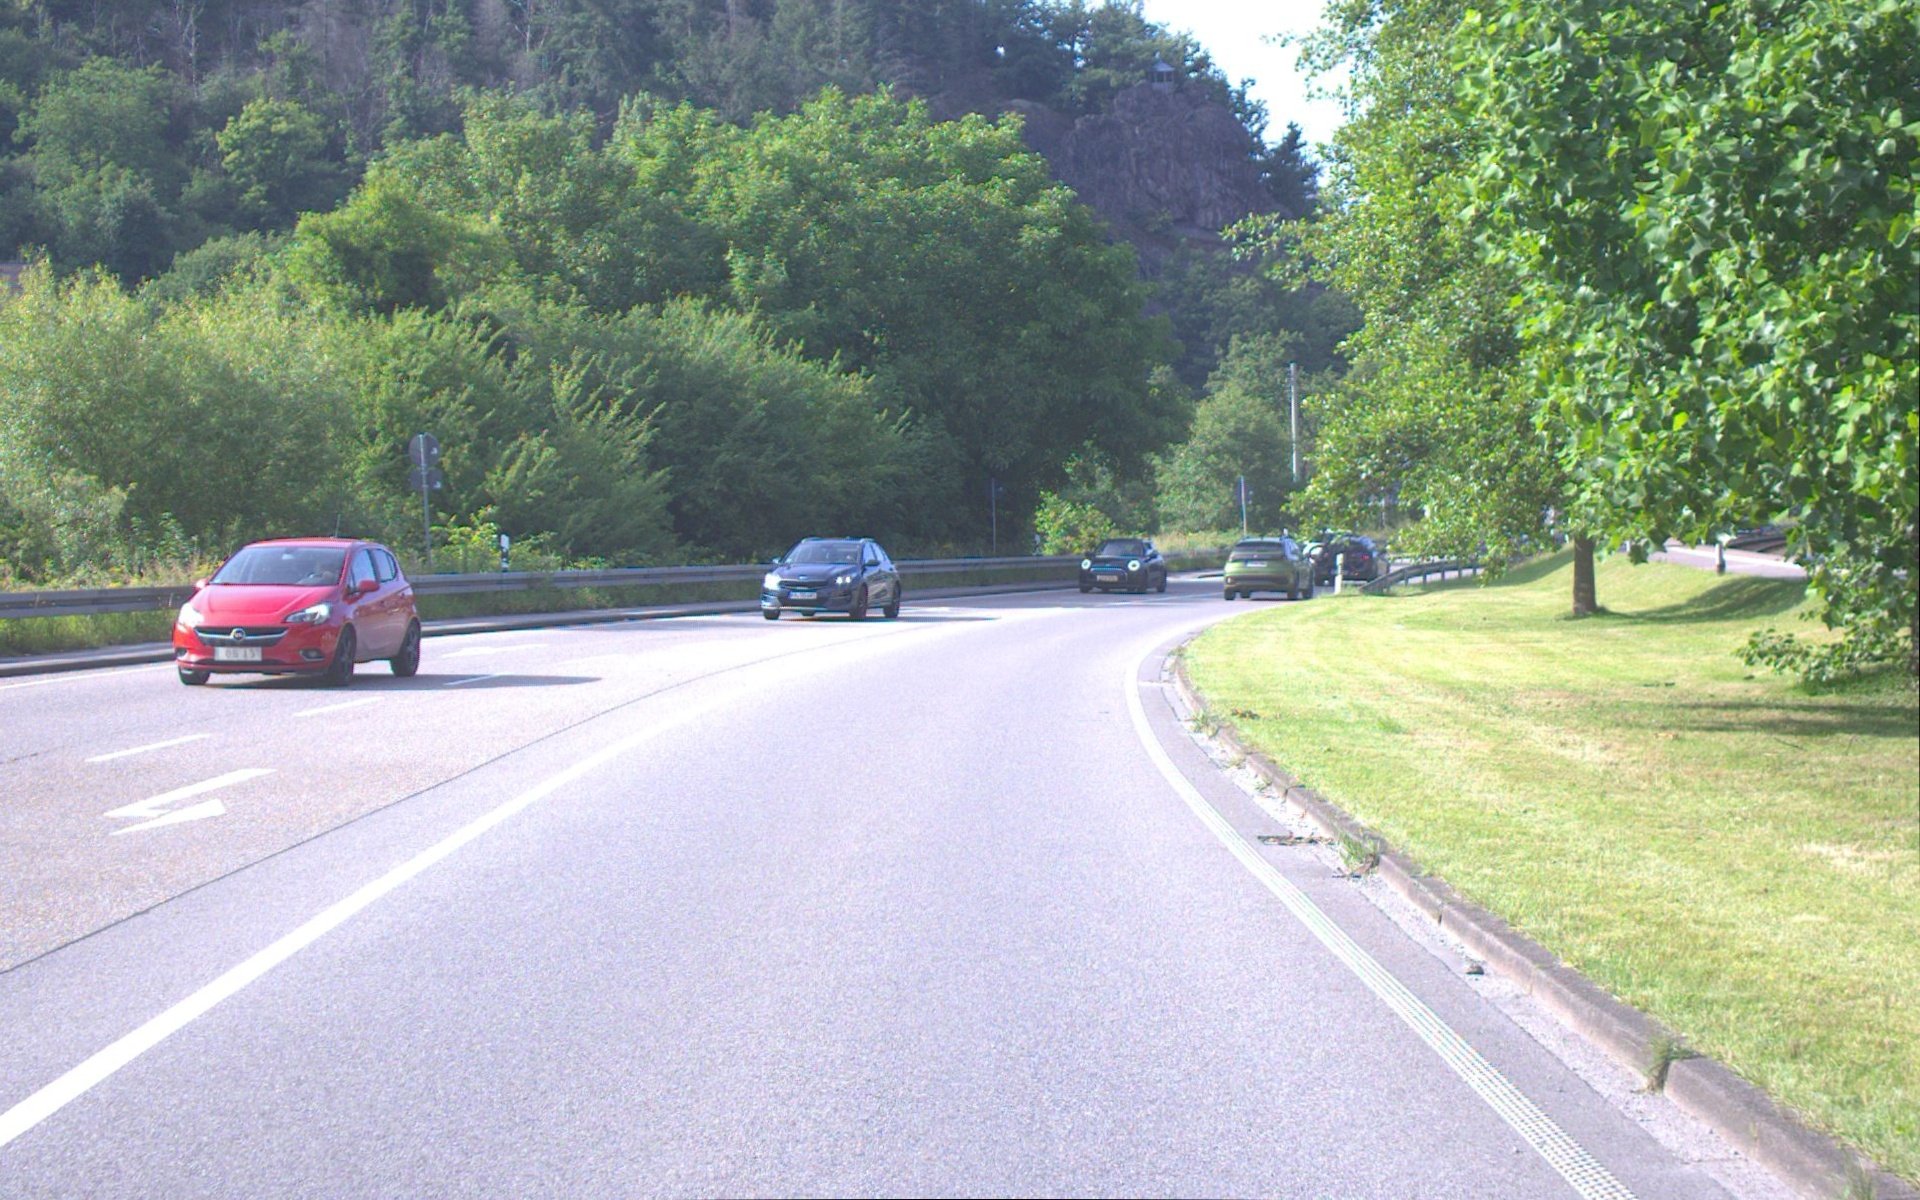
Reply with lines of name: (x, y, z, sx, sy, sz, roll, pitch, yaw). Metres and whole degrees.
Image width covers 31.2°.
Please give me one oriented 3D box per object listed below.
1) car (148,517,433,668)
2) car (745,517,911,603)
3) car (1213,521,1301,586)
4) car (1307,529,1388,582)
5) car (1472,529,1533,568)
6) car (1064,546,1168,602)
car: (-6.825, -0.110, 35.469, 1.676, 1.455, 4.201, 0, 1, 7)
car: (-2.356, -0.741, 62.523, 1.852, 1.464, 4.540, 1, 1, 13)
car: (7.089, -1.122, 81.889, 1.729, 1.452, 3.409, -2, 1, 11)
car: (11.372, -1.319, 100.723, 1.841, 1.454, 3.711, -2, 1, 14)
car: (21.491, -2.051, 136.103, 1.808, 1.448, 3.644, -2, 1, 18)
car: (4.088, -0.697, 89.570, 1.695, 1.397, 4.198, 0, 1, 18)
